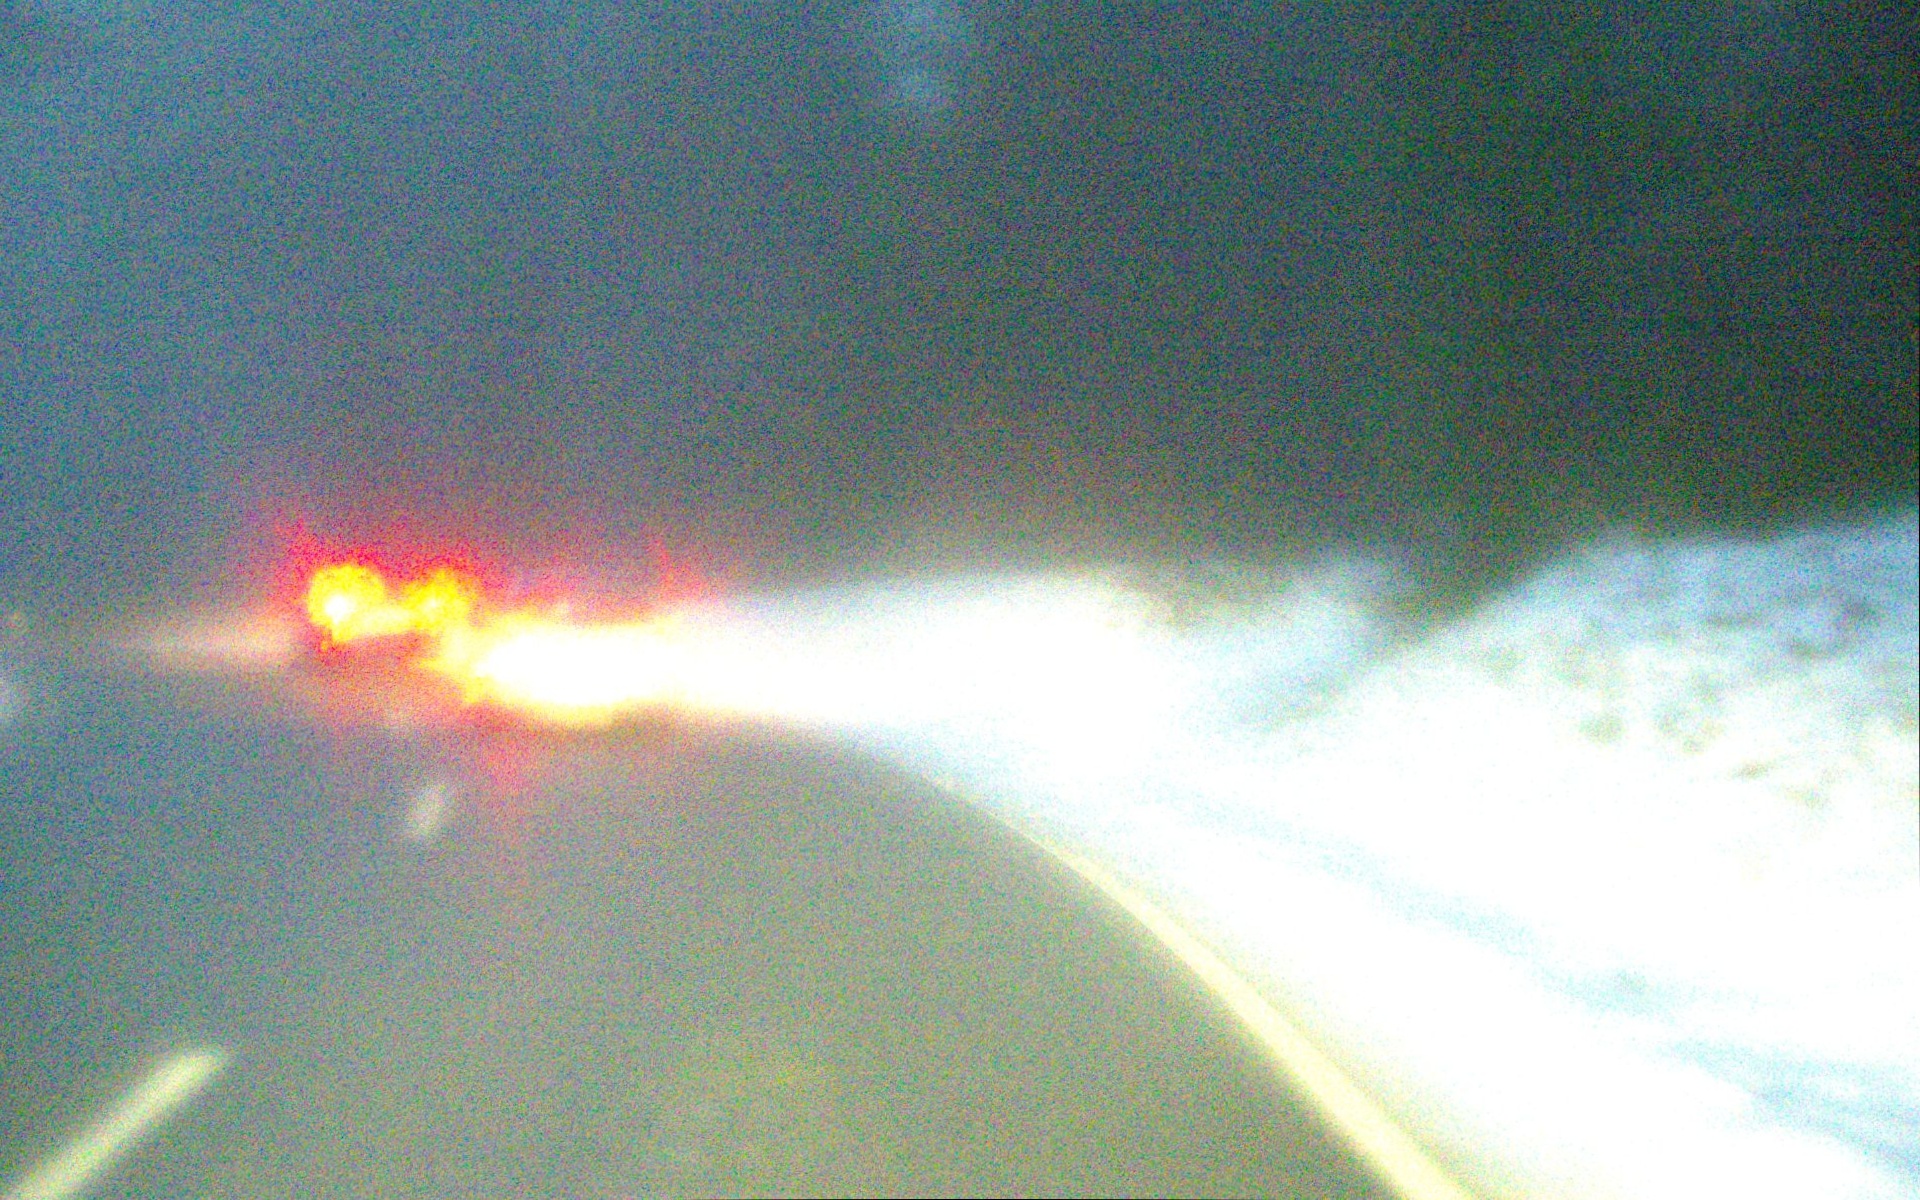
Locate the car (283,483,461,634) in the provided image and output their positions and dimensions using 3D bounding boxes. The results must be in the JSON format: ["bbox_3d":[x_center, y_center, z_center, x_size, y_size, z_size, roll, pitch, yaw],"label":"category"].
[{"bbox_3d":[-8.178,-0.532,47.547,1.993,1.777,4.001,5,-3,-14],"label":"car"}]

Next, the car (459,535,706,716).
[{"bbox_3d":[-3.282,0.249,30.373,1.945,1.376,4.000,4,-1,-5],"label":"car"}]
